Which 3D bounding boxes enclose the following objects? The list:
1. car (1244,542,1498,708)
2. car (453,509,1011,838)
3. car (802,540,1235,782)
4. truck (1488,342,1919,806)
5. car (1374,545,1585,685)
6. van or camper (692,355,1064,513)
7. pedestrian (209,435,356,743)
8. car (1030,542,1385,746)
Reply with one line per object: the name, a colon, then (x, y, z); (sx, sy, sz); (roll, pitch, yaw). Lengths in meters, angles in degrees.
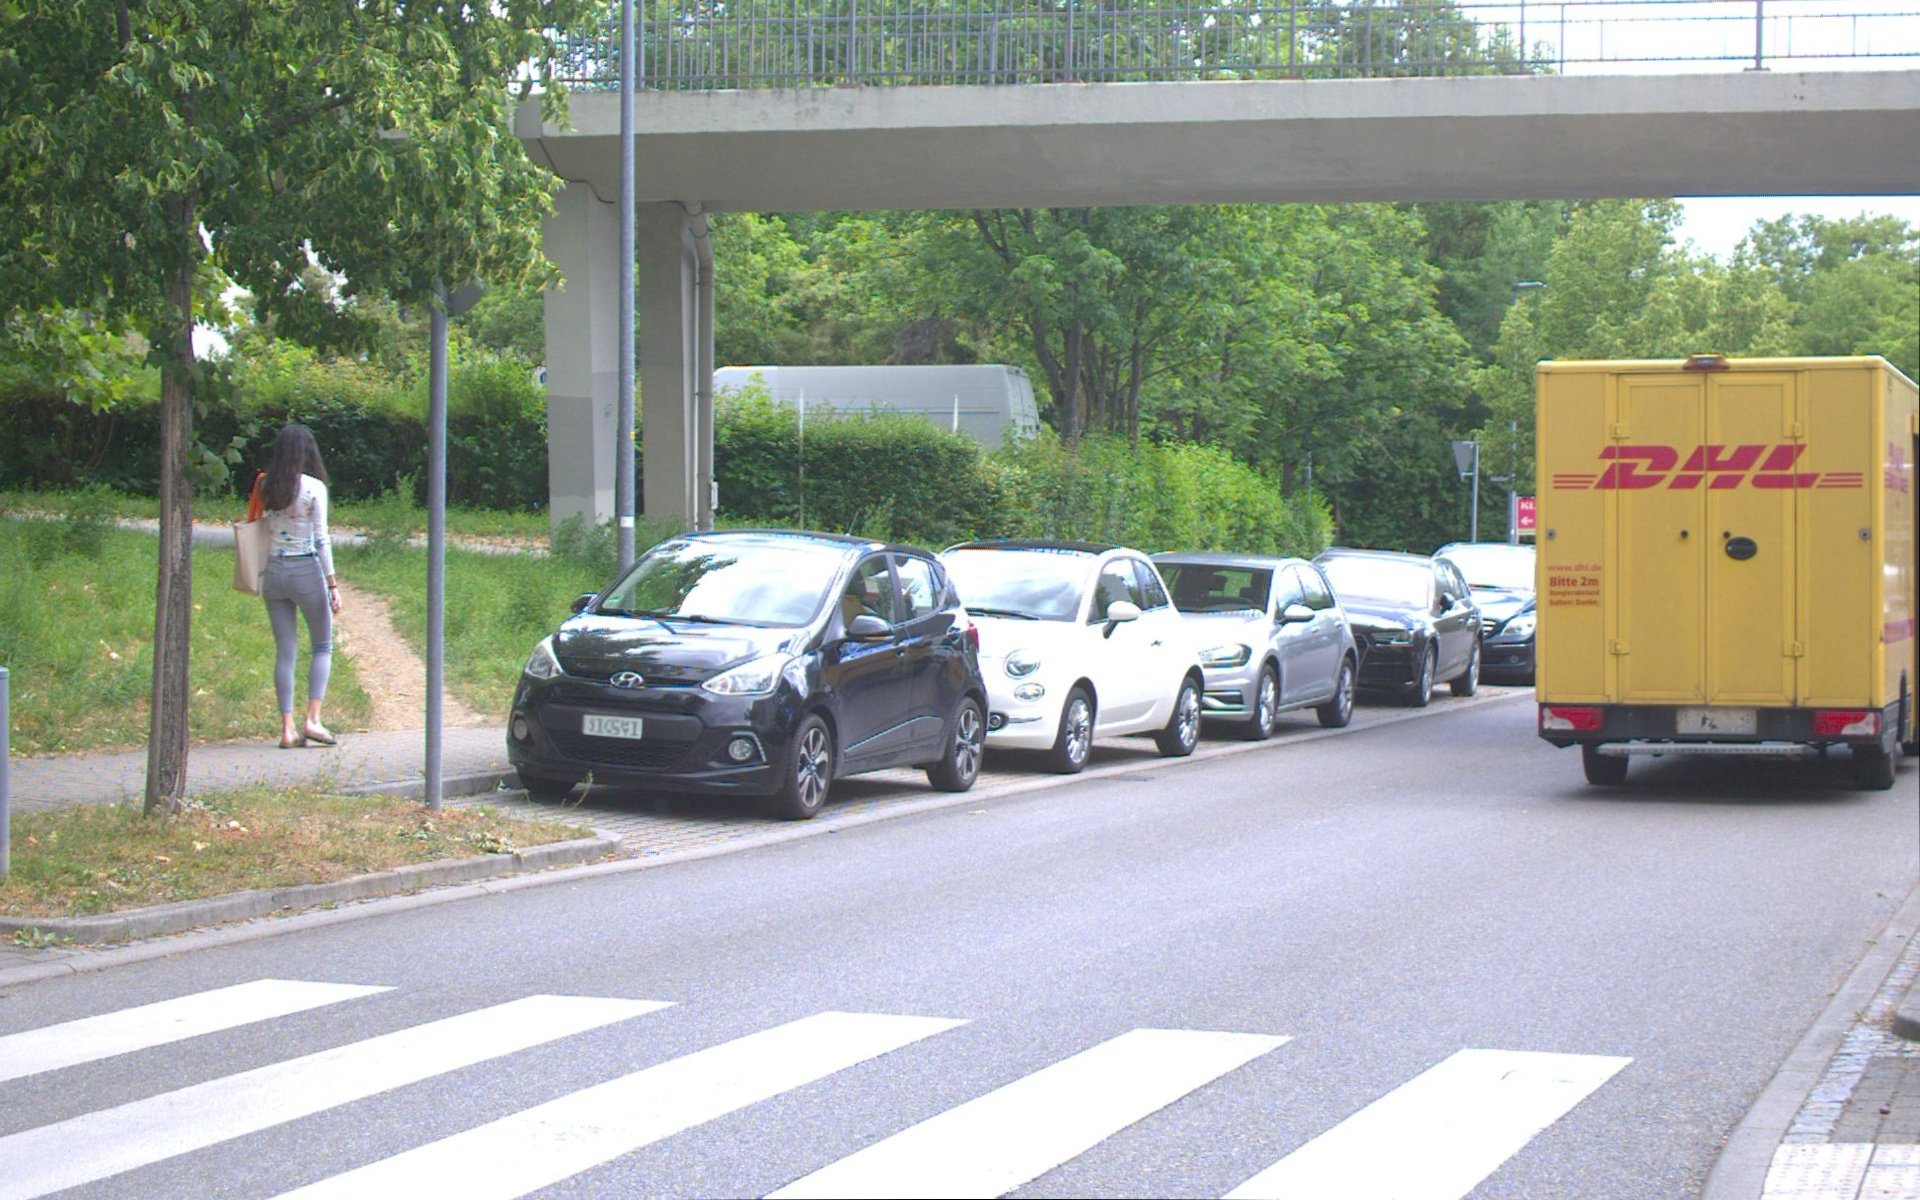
car: (4.257, 0.196, 35.032); (1.886, 1.504, 4.449); (2, 2, 15)
car: (-1.157, 0.314, 19.455); (1.788, 1.462, 3.997); (5, 4, 16)
car: (0.487, 0.361, 23.692); (1.886, 1.455, 3.543); (3, 2, 20)
truck: (5.497, -0.238, 23.752); (2.468, 2.693, 6.818); (2, 2, 18)
car: (6.193, 0.150, 40.693); (1.886, 1.553, 3.835); (-1, 1, 17)
van or camper: (-1.144, -2.361, 48.658); (4.857, 2.078, 1.999); (2, 3, 14)
pedestrian: (-3.861, -0.072, 19.629); (0.737, 1.715, 0.660); (1, 3, -5)
car: (2.131, 0.300, 28.497); (1.886, 1.422, 3.996); (2, 3, 20)
